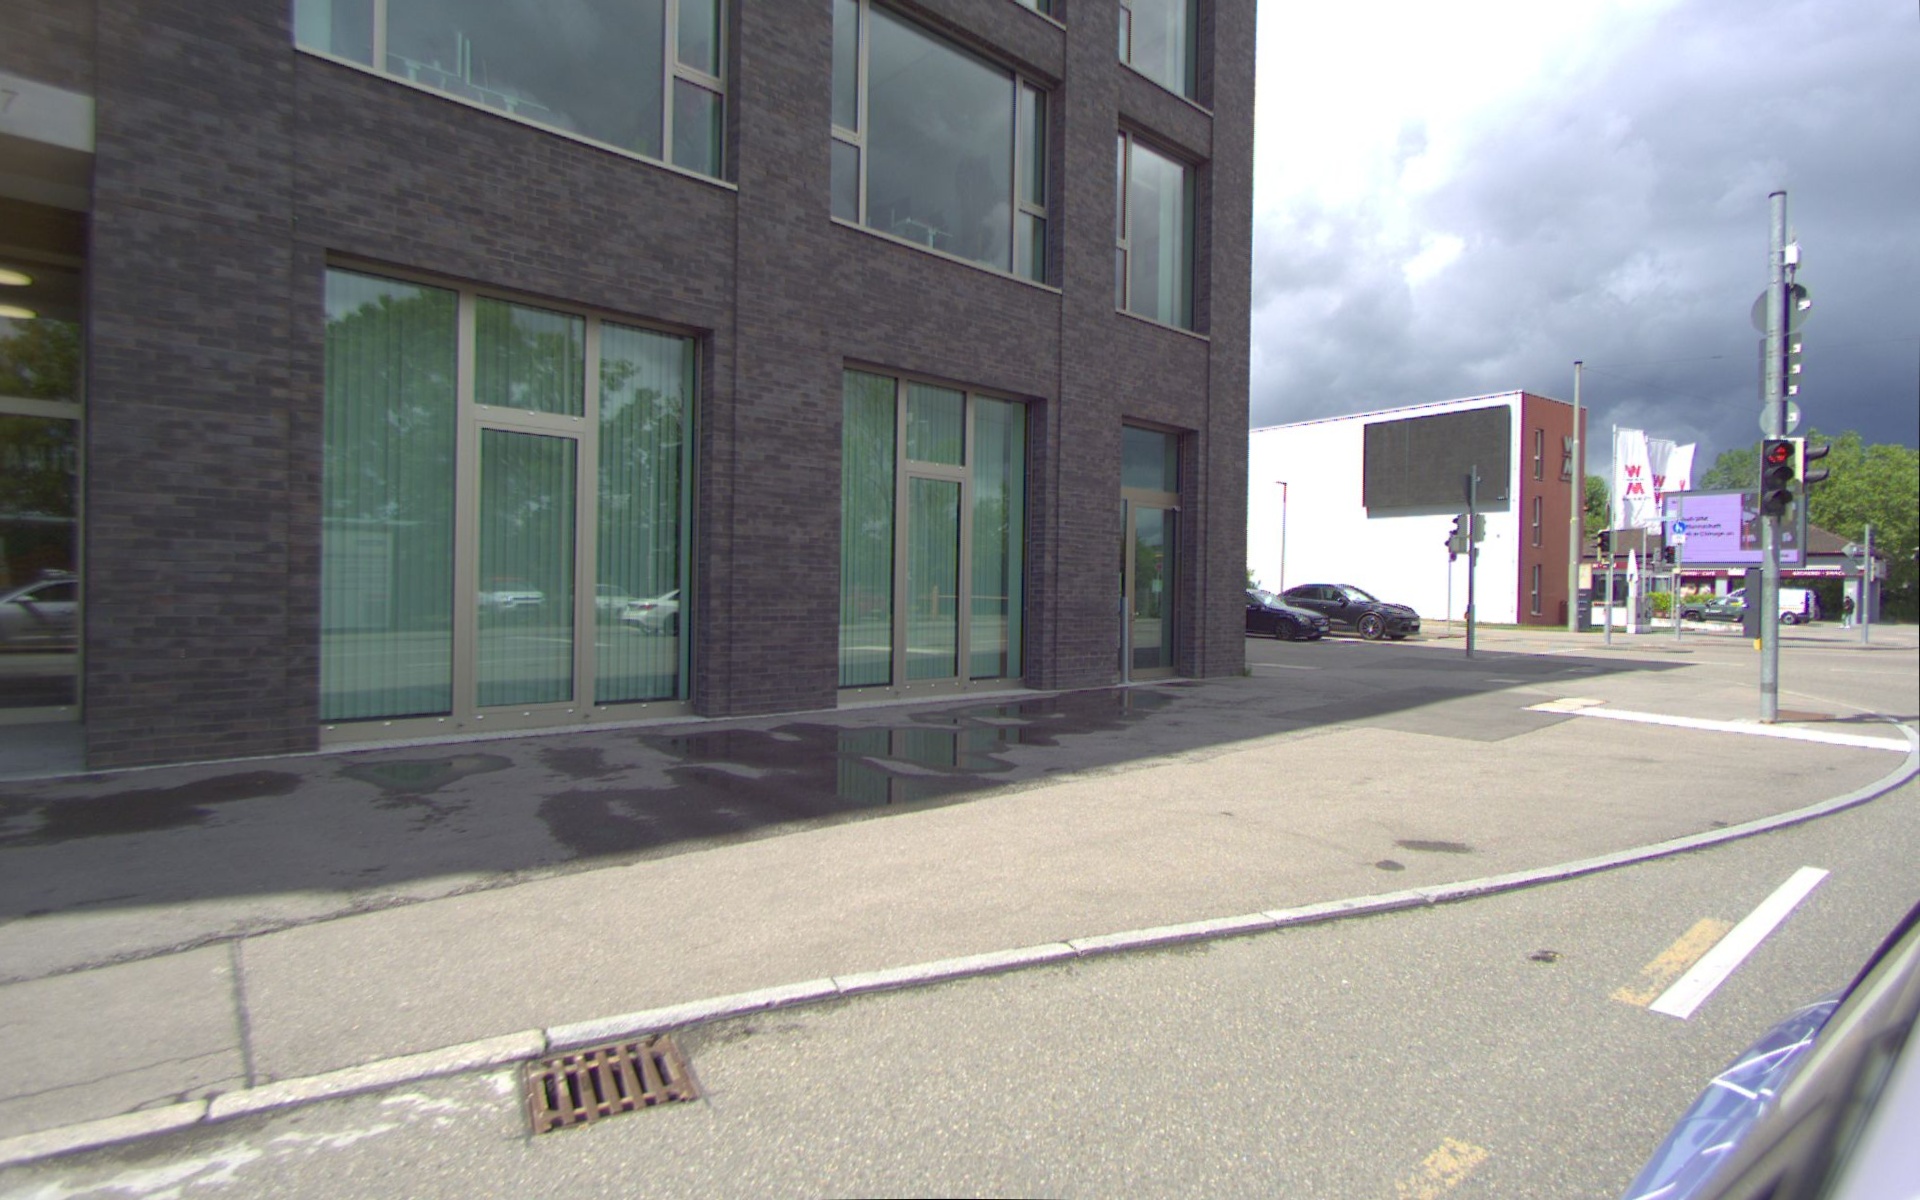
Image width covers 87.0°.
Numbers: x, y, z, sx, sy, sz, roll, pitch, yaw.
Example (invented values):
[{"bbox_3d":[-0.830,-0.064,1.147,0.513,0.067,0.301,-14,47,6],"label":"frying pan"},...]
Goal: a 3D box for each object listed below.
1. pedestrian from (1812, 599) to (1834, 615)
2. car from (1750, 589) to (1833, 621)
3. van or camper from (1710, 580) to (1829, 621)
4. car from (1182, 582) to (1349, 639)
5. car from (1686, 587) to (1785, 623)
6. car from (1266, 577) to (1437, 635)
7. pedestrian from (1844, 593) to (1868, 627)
[{"bbox_3d":[68.548,0.525,80.379,0.945,1.264,0.888,1,0,-12],"label":"pedestrian"},{"bbox_3d":[48.780,0.282,59.375,1.804,1.503,3.458,-1,6,-42],"label":"car"},{"bbox_3d":[46.097,-0.022,57.714,2.173,1.981,4.910,-1,4,-40],"label":"van or camper"},{"bbox_3d":[9.207,0.255,30.770,1.965,1.511,4.533,-1,2,-40],"label":"car"},{"bbox_3d":[40.182,0.234,52.523,1.730,1.503,3.679,0,5,-38],"label":"car"},{"bbox_3d":[12.206,0.141,31.798,1.965,1.639,4.648,0,1,-41],"label":"car"},{"bbox_3d":[47.337,0.515,53.442,0.726,1.727,0.714,0,5,-40],"label":"pedestrian"}]
